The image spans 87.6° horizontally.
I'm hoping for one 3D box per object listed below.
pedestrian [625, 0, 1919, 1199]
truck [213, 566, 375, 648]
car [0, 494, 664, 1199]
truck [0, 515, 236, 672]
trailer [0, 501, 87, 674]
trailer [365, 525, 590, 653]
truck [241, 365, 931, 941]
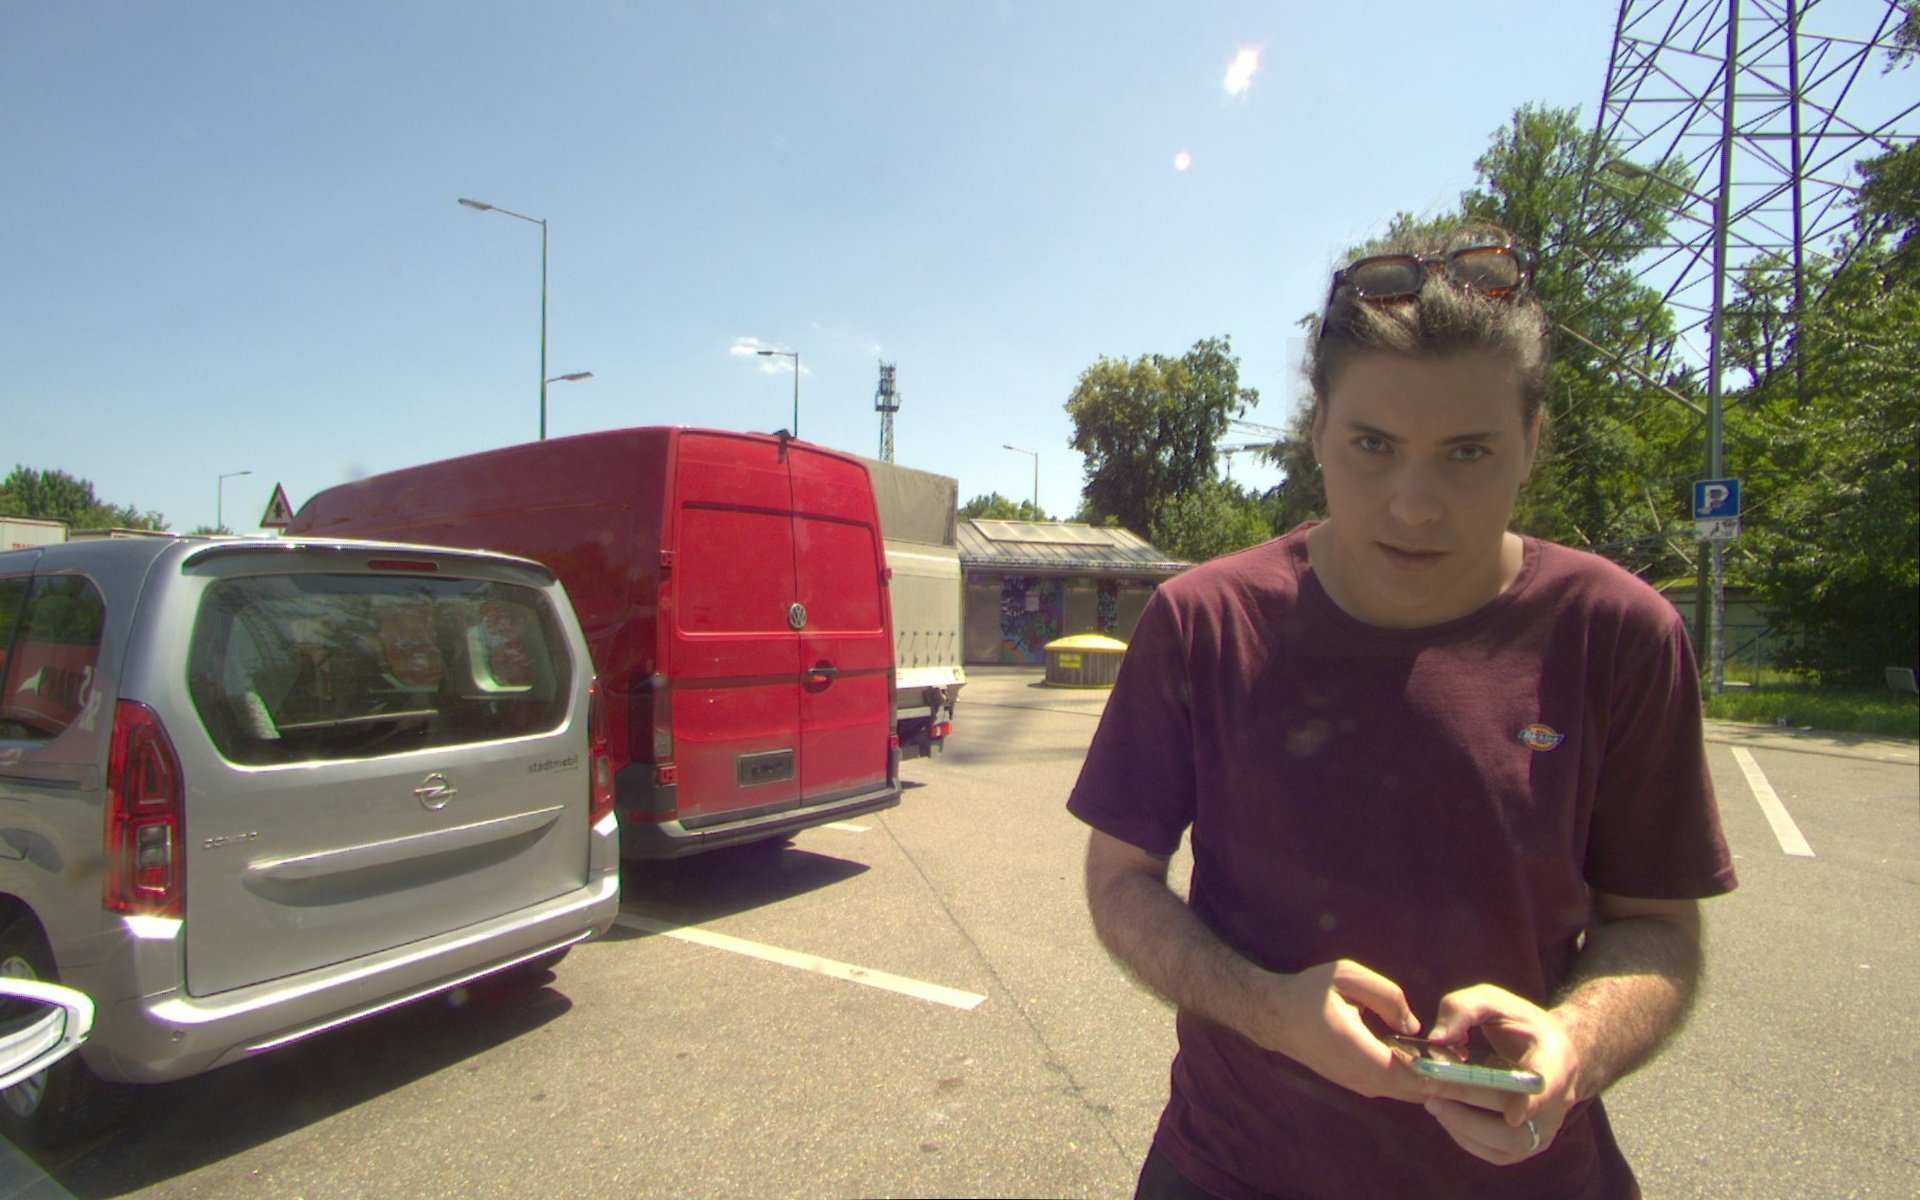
[{"bbox_3d":[0.360,0.517,0.858,0.926,1.798,0.827,1,0,28],"label":"pedestrian"},{"bbox_3d":[-30.723,0.328,46.074,8.407,3.482,3.019,0,-1,33],"label":"truck"},{"bbox_3d":[-3.364,0.644,4.213,3.938,1.776,1.824,0,-1,29],"label":"car"},{"bbox_3d":[-28.005,-0.124,31.785,14.316,4.175,2.901,0,-3,33],"label":"truck"},{"bbox_3d":[-28.810,-0.322,28.032,13.374,4.178,2.871,0,-1,33],"label":"trailer"},{"bbox_3d":[-18.103,-0.269,38.482,2.790,4.313,8.678,1,-1,15],"label":"trailer"},{"bbox_3d":[-2.877,0.269,6.998,5.233,2.658,1.987,0,-1,37],"label":"truck"}]
